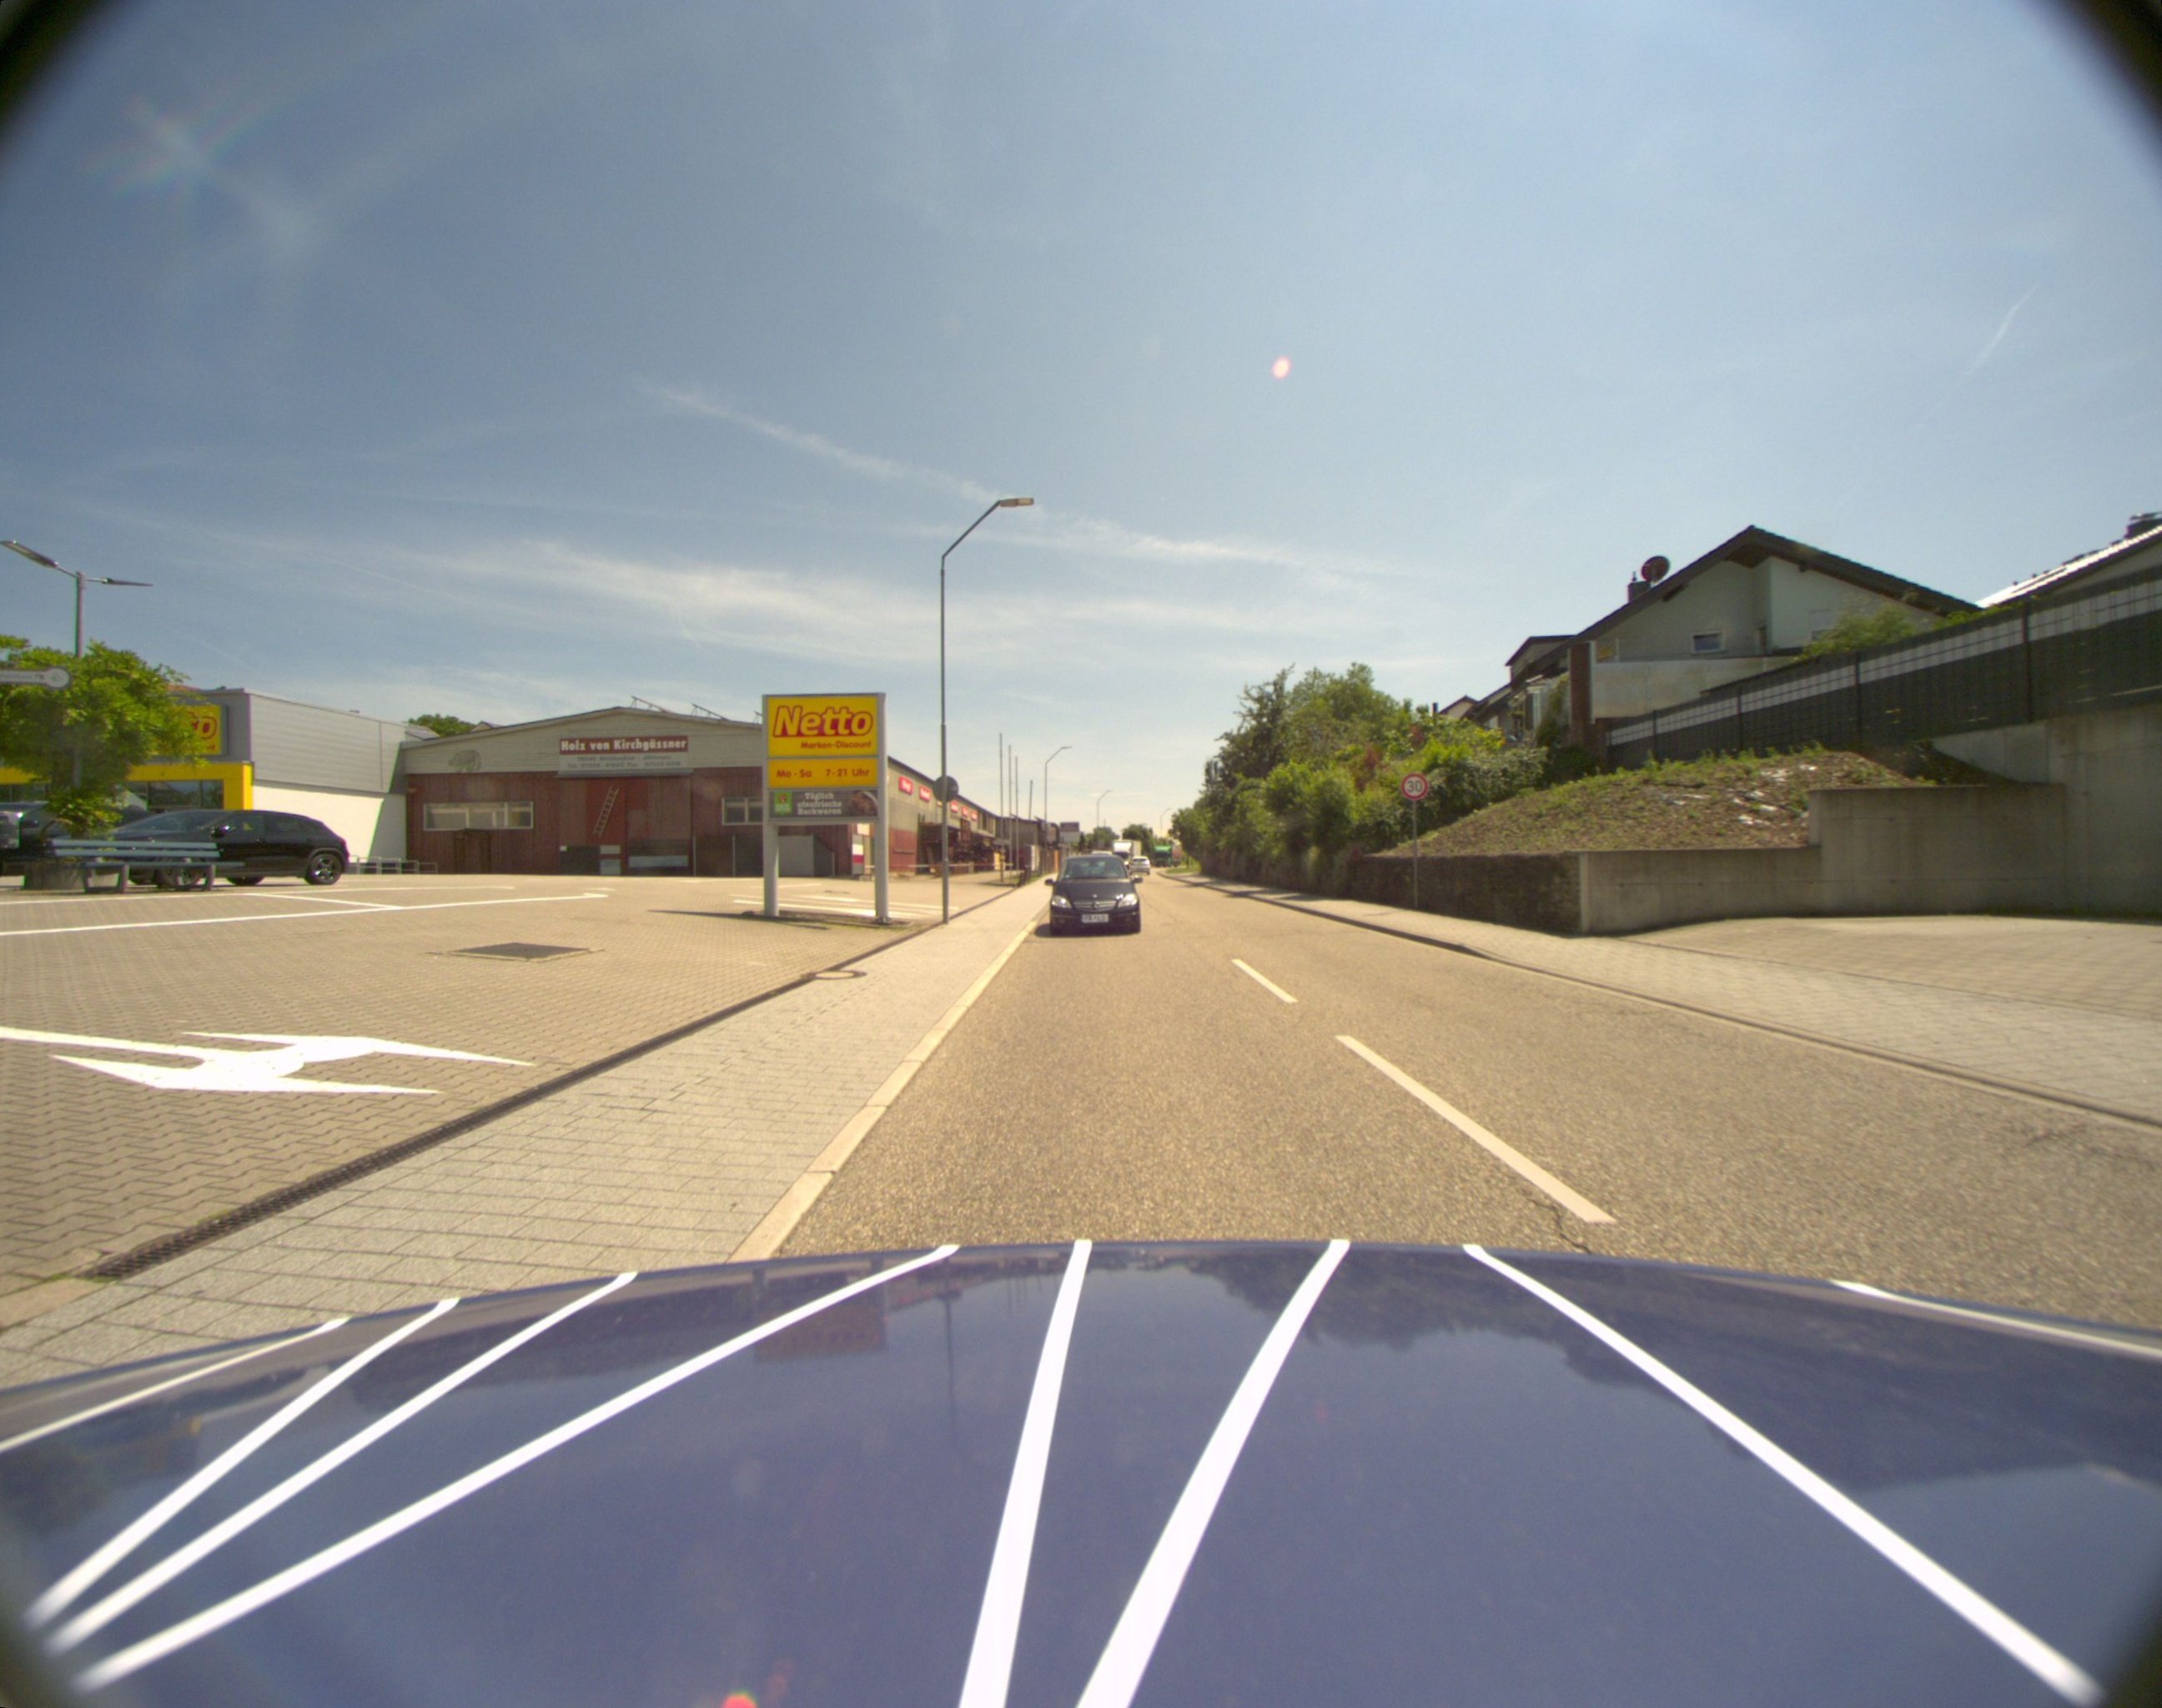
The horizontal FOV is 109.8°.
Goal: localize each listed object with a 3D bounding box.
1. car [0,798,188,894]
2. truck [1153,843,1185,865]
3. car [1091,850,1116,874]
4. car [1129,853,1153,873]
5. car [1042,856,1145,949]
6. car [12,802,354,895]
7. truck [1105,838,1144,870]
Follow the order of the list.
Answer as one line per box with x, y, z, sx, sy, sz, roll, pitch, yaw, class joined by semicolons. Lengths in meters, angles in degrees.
-20.588;-0.177;14.614;1.912;1.737;4.129;2;0;1;car
13.567;0.045;116.689;2.848;3.214;8.177;2;0;20;truck
1.961;0.643;65.276;1.867;1.897;5.038;-3;0;3;car
4.889;0.742;61.793;1.826;1.516;3.559;-2;0;5;car
0.279;0.864;15.558;1.764;1.583;4.198;-2;0;1;car
-17.431;-0.060;15.163;1.913;1.586;4.209;0;-1;-3;car
5.323;0.011;91.260;3.199;3.578;8.316;2;0;13;truck
